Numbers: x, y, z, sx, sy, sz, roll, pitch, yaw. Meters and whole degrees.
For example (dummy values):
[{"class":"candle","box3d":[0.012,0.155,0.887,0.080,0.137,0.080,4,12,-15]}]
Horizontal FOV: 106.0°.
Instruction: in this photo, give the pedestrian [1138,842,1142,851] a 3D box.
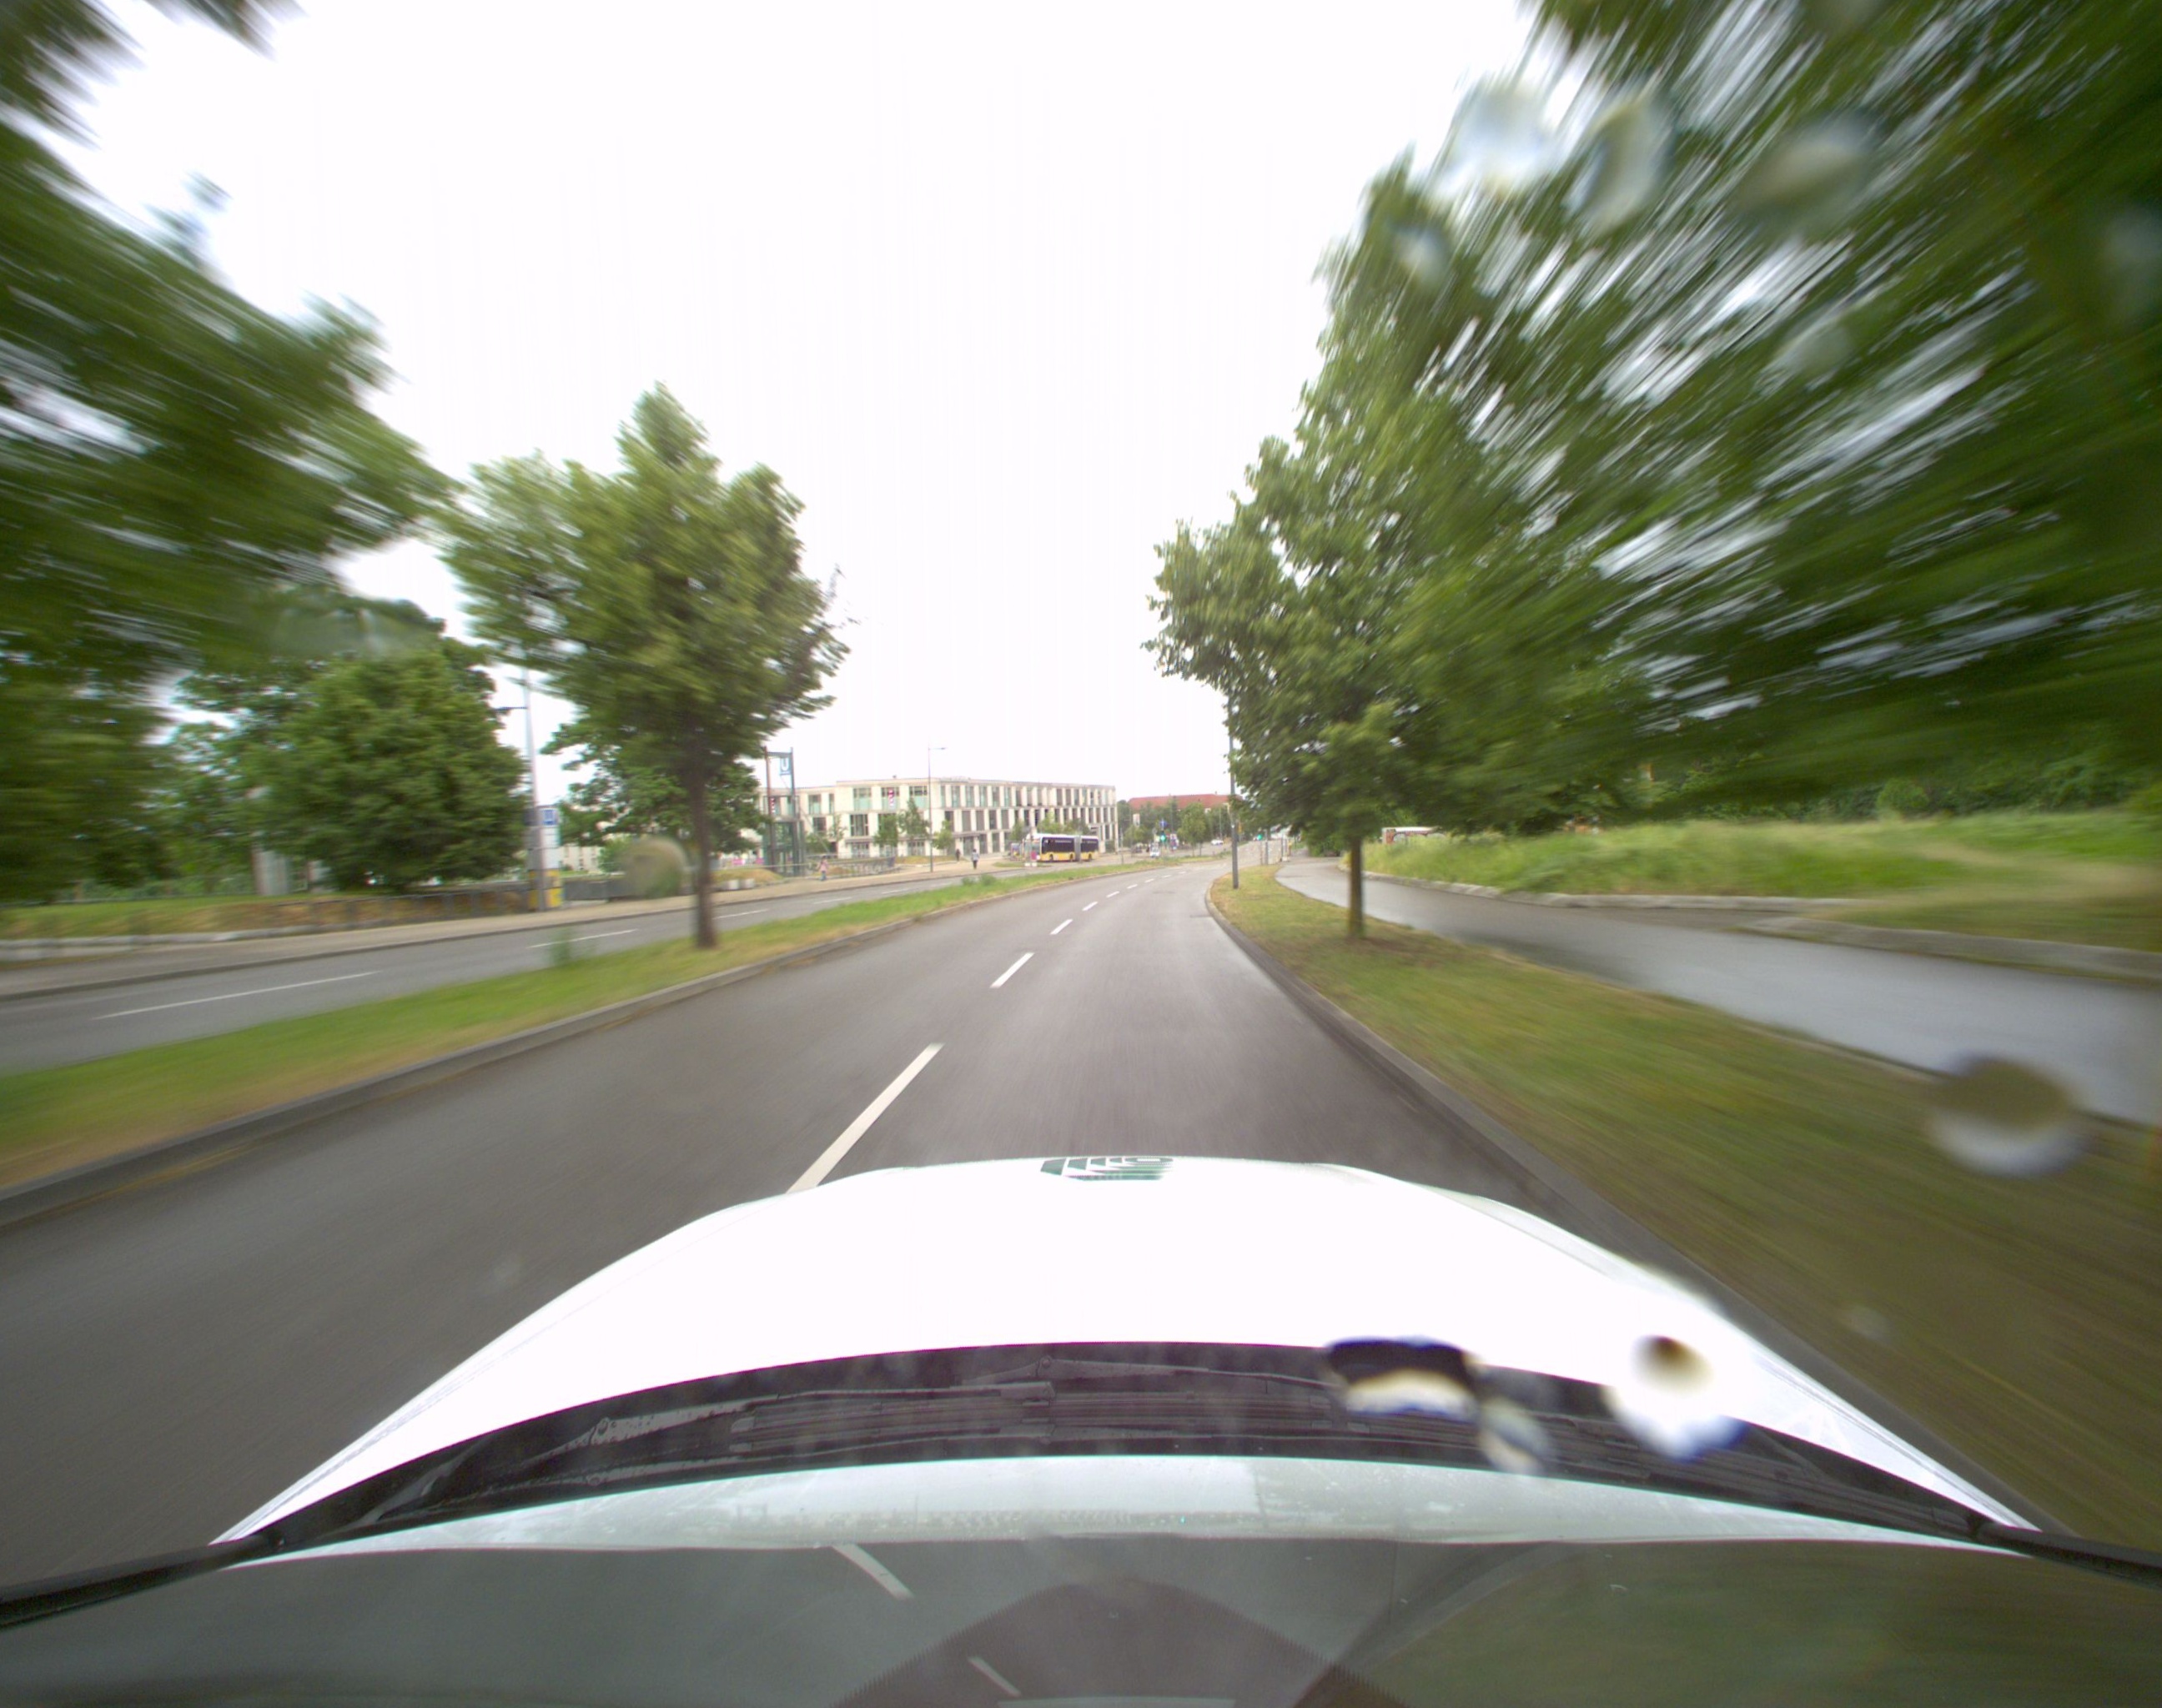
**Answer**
[{"class":"pedestrian","box3d":[12.184,-1.520,168.587,0.746,1.853,0.837,-1,-1,-2]}]

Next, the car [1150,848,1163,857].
[{"class":"car","box3d":[13.185,-0.243,142.152,1.465,1.494,2.543,-2,-1,21]}]

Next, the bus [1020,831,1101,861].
[{"class":"bus","box3d":[-2.203,-0.910,102.041,2.760,3.357,18.326,-2,-1,23]}]

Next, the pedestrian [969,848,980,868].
[{"class":"pedestrian","box3d":[-8.783,0.330,67.268,0.834,1.573,0.717,-1,-1,-9]}]

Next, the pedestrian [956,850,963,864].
[{"class":"pedestrian","box3d":[-13.560,0.339,91.117,0.680,1.524,0.718,-1,-1,-3]}]

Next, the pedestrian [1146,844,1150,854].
[{"class":"pedestrian","box3d":[13.004,-0.960,158.291,0.746,1.947,0.837,-1,-1,-2]}]

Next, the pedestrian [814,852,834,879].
[{"class":"pedestrian","box3d":[-15.763,0.727,49.894,0.809,1.621,0.937,-2,-1,8]}]

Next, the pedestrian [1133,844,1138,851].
[{"class":"pedestrian","box3d":[11.322,-1.372,169.013,0.832,1.532,0.751,-2,-1,2]}]
